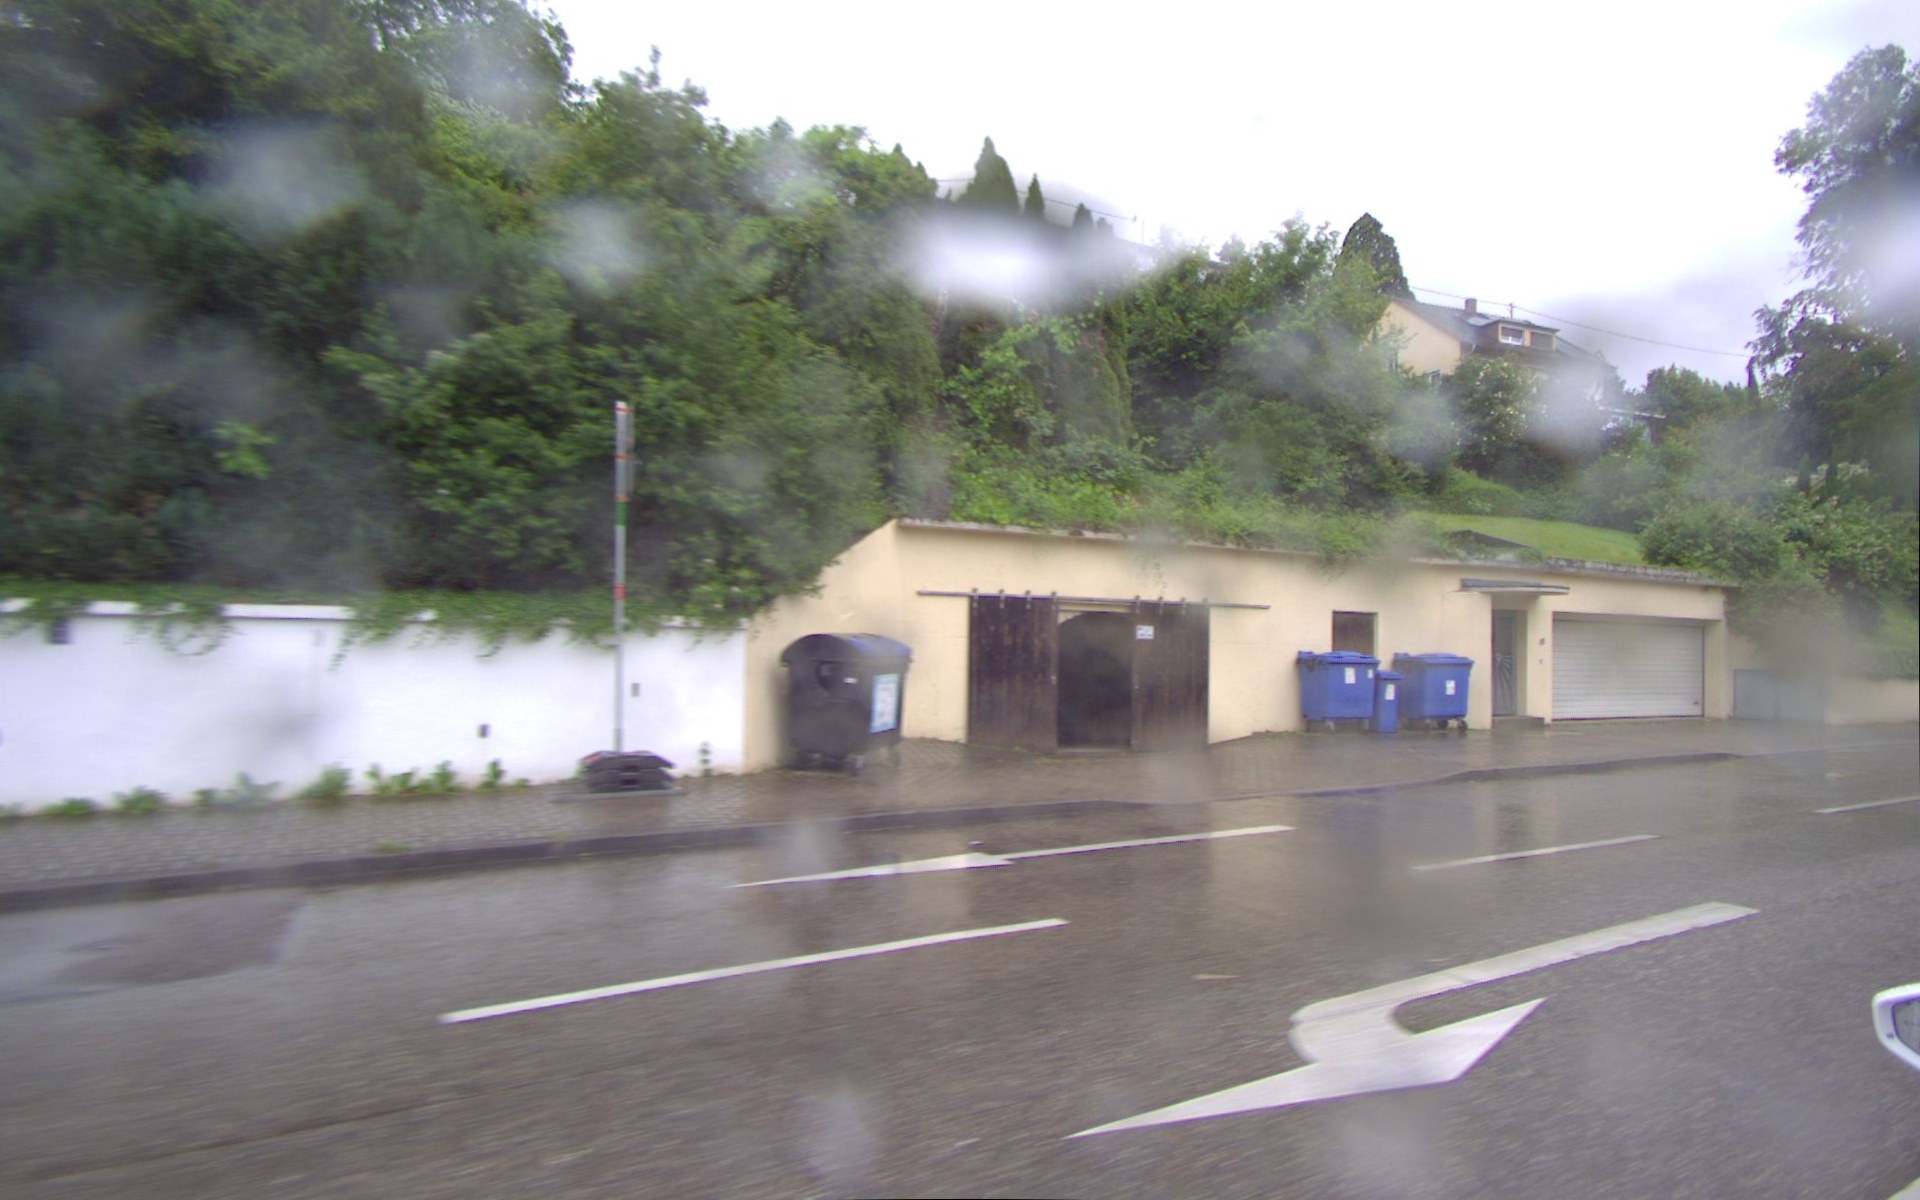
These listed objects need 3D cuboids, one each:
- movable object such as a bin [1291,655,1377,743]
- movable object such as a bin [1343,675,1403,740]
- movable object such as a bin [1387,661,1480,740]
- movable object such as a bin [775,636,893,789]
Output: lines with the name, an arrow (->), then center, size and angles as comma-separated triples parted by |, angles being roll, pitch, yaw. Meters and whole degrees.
movable object such as a bin -> 6.286, 1.643, 16.898 | 1.119, 1.400, 0.818 | 2, -2, -25
movable object such as a bin -> 7.127, 1.851, 17.347 | 0.599, 1.056, 0.733 | 2, -2, -25
movable object such as a bin -> 8.421, 1.764, 17.876 | 1.383, 1.332, 0.818 | 2, -2, -26
movable object such as a bin -> -1.334, 1.150, 10.543 | 0.852, 1.464, 0.928 | 4, 0, -31
